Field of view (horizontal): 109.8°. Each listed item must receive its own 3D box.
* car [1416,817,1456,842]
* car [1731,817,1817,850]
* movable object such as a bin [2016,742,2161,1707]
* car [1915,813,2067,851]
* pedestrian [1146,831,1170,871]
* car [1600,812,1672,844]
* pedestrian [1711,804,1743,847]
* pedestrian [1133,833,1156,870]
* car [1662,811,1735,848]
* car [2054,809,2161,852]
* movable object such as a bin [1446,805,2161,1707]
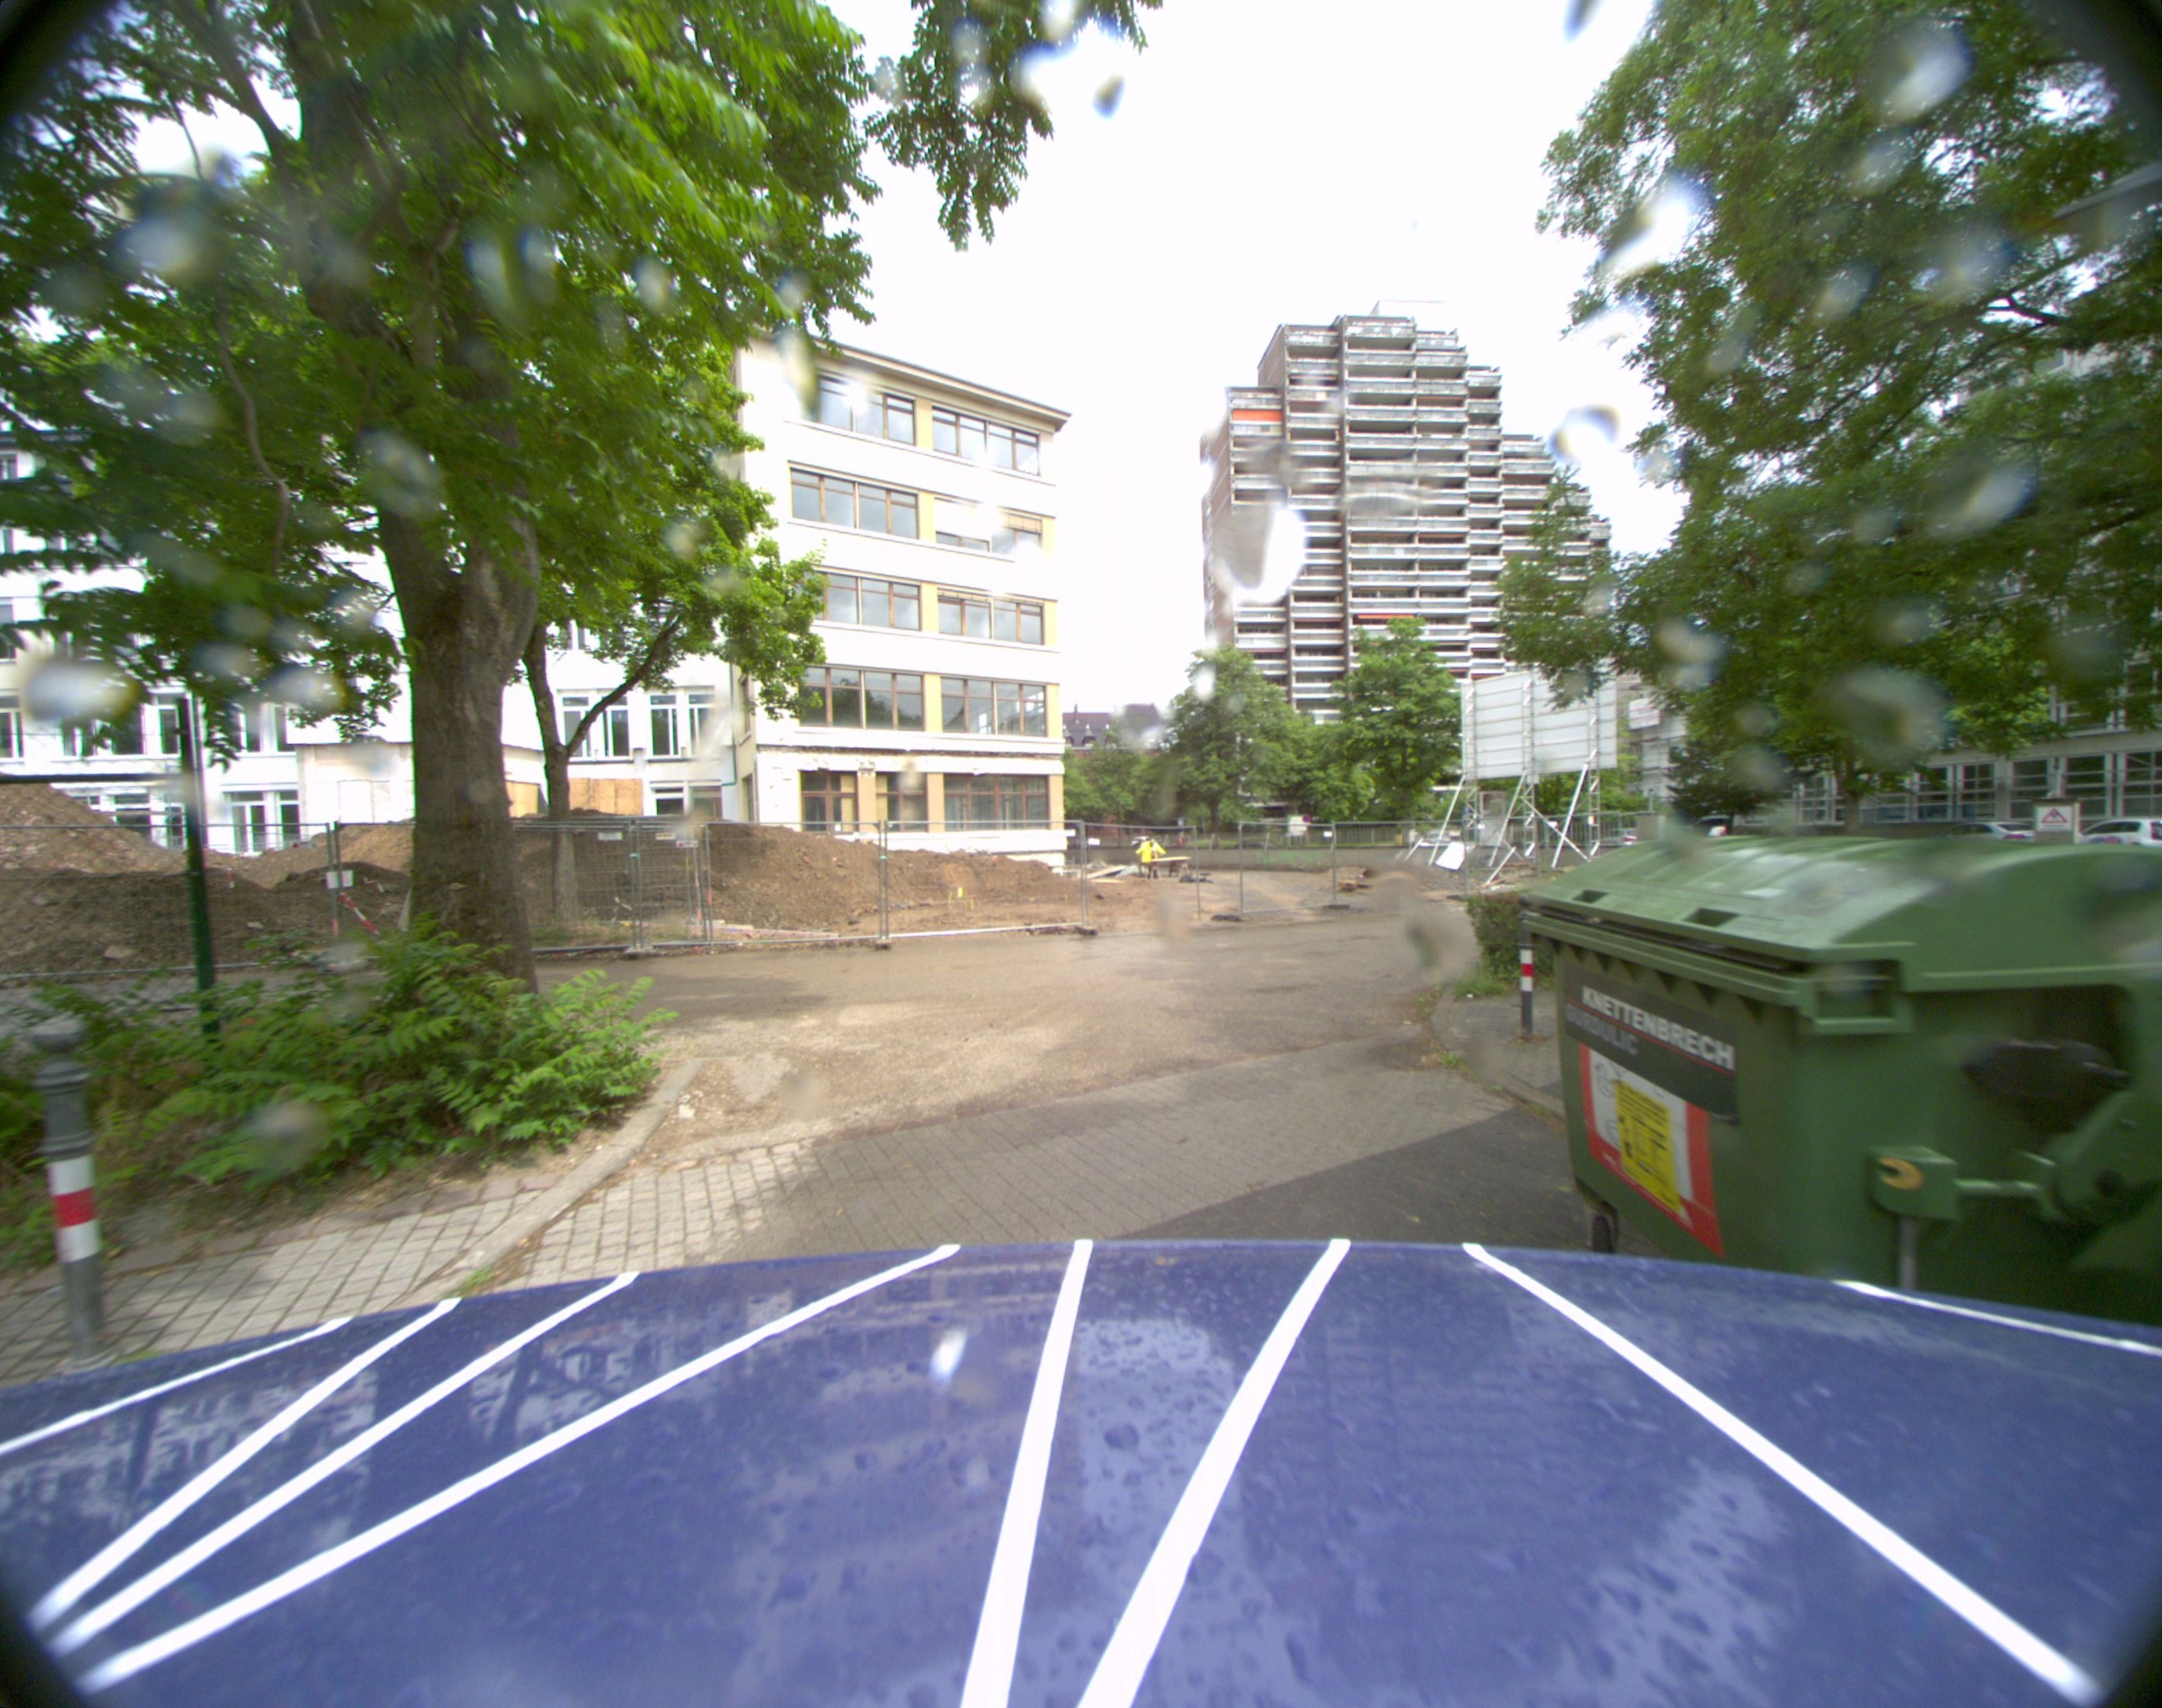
[{"bbox_3d":[23.720,-1.642,50.854,1.855,1.477,4.004,-3,1,18],"label":"car"},{"bbox_3d":[32.364,-1.001,35.602,1.619,1.419,3.651,-2,2,18],"label":"car"},{"bbox_3d":[2.164,0.548,0.468,1.363,1.462,1.464,-4,1,-3],"label":"movable object such as a bin"},{"bbox_3d":[36.265,-0.899,30.458,1.720,1.407,4.002,0,2,11],"label":"car"},{"bbox_3d":[3.315,-0.122,32.601,0.775,1.664,0.714,-1,2,24],"label":"pedestrian"},{"bbox_3d":[29.483,-1.380,40.498,1.855,1.477,4.004,-3,1,18],"label":"car"},{"bbox_3d":[30.346,-1.333,35.707,0.932,2.002,0.858,-3,2,-27],"label":"pedestrian"},{"bbox_3d":[2.640,-0.086,31.466,0.650,1.500,0.623,-4,3,-43],"label":"pedestrian"},{"bbox_3d":[30.890,-1.252,38.102,1.619,1.737,3.651,-2,2,18],"label":"car"},{"bbox_3d":[37.525,-0.856,27.166,1.651,1.437,3.393,0,2,16],"label":"car"},{"bbox_3d":[2.109,0.647,2.024,1.413,1.462,1.560,-4,1,-3],"label":"movable object such as a bin"}]
